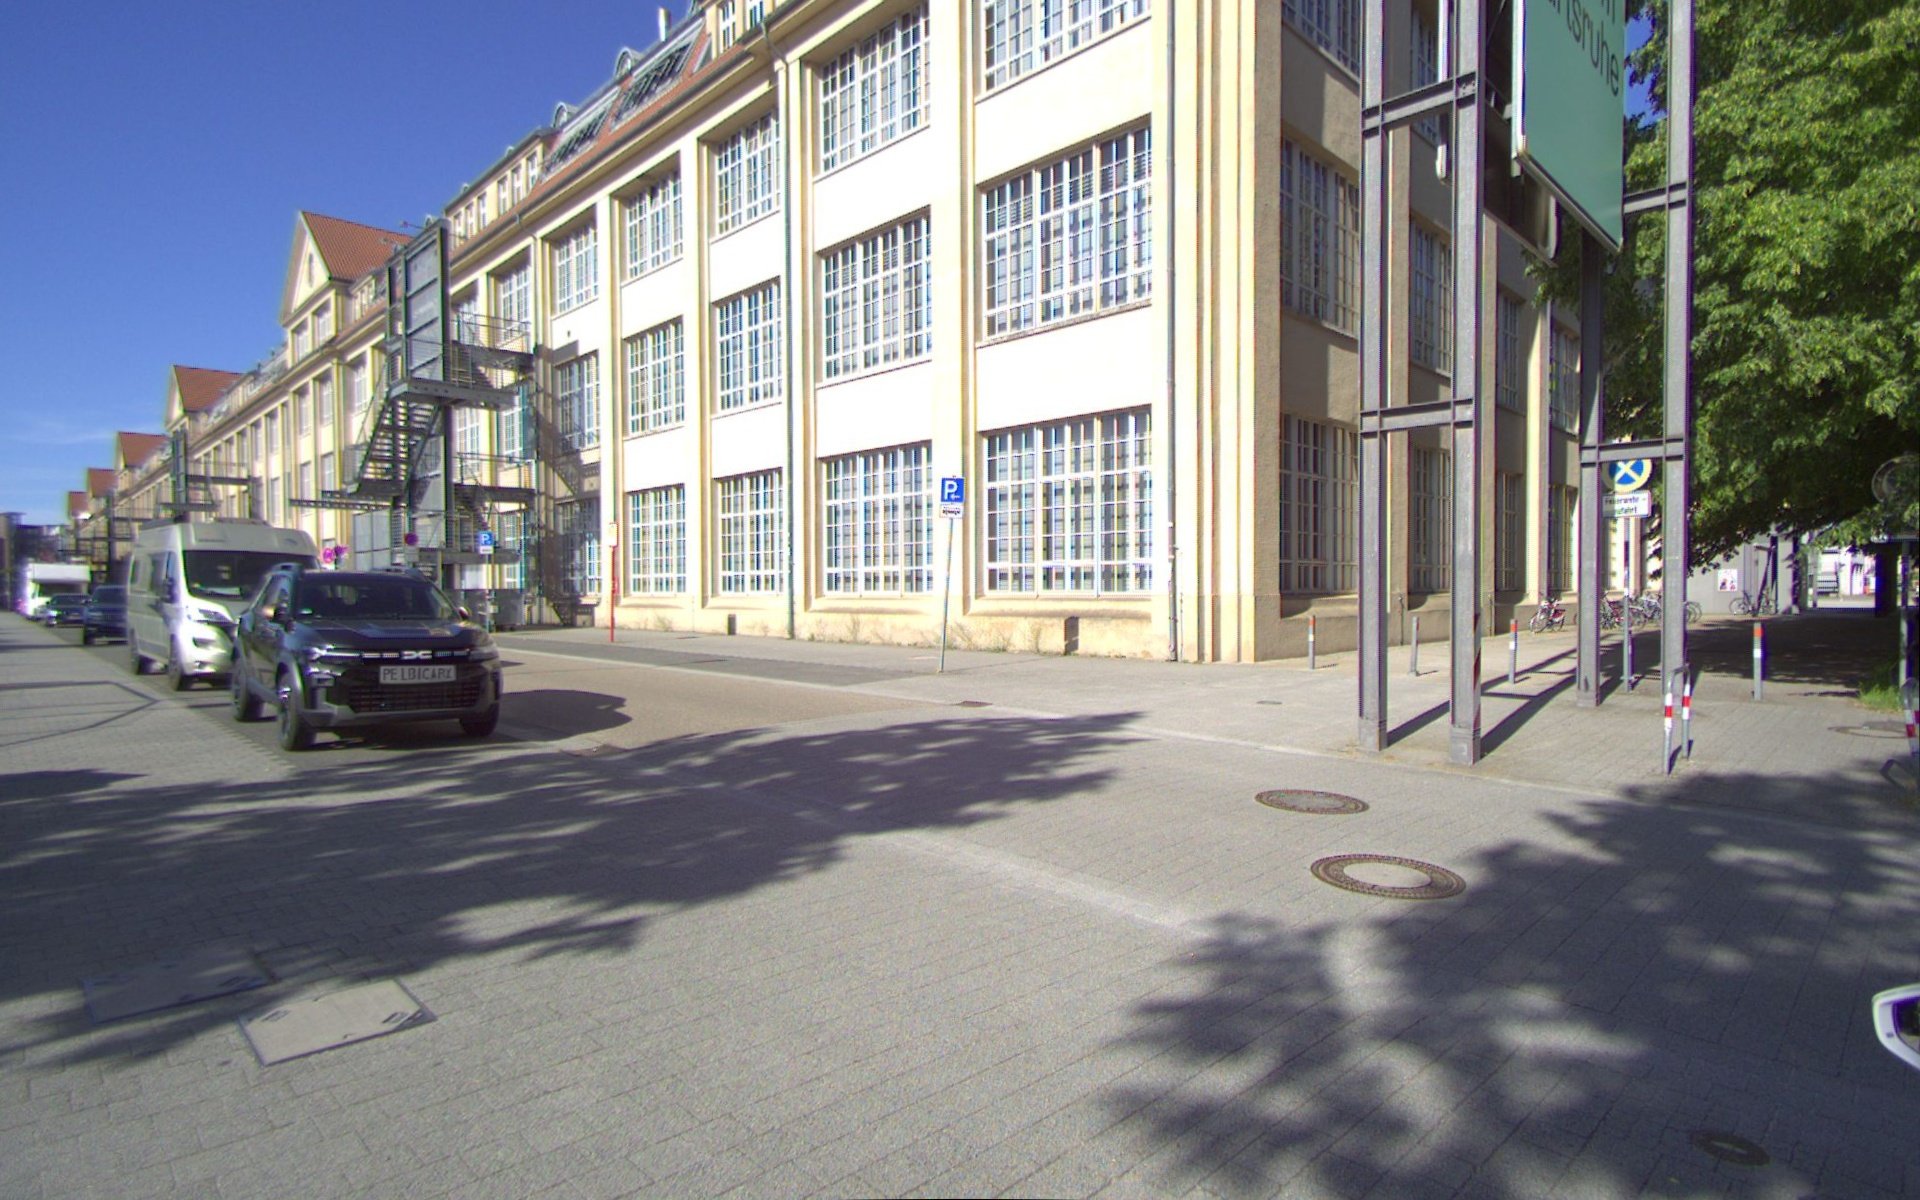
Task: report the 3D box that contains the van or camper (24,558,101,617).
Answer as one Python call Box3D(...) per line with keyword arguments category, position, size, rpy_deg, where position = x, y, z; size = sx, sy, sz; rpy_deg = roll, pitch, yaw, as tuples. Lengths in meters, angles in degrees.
Box3D(category="van or camper", position=(-47.057, -0.656, 52.628), size=(5.064, 2.895, 2.707), rpy_deg=(1, 1, 45))

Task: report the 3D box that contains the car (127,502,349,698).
Box3D(category="car", position=(-12.001, -0.021, 16.464), size=(2.150, 2.632, 6.202), rpy_deg=(-1, 1, -43))

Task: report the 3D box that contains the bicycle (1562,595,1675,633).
Box3D(category="bicycle", position=(19.877, 0.402, 30.373), size=(2.769, 1.077, 0.715), rpy_deg=(1, 2, 42))

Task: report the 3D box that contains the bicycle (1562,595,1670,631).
Box3D(category="bicycle", position=(20.713, 0.398, 31.776), size=(0.714, 1.077, 2.773), rpy_deg=(-2, 2, -44))

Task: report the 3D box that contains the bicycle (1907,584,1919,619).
Box3D(category="bicycle", position=(33.938, 0.046, 35.472), size=(0.612, 1.213, 2.121), rpy_deg=(1, 1, 40))

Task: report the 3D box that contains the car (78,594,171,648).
Box3D(category="car", position=(-24.580, 0.557, 29.497), size=(1.839, 1.444, 4.170), rpy_deg=(-1, 1, -43))

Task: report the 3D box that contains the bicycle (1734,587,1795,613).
Box3D(category="bicycle", position=(35.017, -0.007, 43.751), size=(0.503, 1.081, 2.039), rpy_deg=(-2, 2, -42))

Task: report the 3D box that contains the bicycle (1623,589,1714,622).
Box3D(category="bicycle", position=(26.039, 0.176, 36.961), size=(2.700, 1.166, 0.715), rpy_deg=(1, 2, 42))

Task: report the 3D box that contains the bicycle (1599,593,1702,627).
Box3D(category="bicycle", position=(22.984, 0.325, 33.499), size=(2.769, 1.077, 0.715), rpy_deg=(1, 2, 42))

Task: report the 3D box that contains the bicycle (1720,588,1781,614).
Box3D(category="bicycle", position=(34.242, 0.030, 43.539), size=(0.503, 1.081, 2.039), rpy_deg=(-2, 2, -42))

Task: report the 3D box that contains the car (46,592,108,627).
Box3D(category="car", position=(-38.335, 0.356, 43.576), size=(1.839, 1.444, 4.170), rpy_deg=(-1, 1, -43))

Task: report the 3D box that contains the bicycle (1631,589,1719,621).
Box3D(category="bicycle", position=(27.267, 0.167, 38.342), size=(2.700, 1.166, 0.715), rpy_deg=(1, 2, 42))

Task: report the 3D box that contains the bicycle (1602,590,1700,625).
Box3D(category="bicycle", position=(24.314, 0.245, 35.384), size=(2.769, 1.166, 0.715), rpy_deg=(1, 2, 42))

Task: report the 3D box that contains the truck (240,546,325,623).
Box3D(category="truck", position=(-32.999, -0.761, 48.820), size=(2.482, 3.477, 7.039), rpy_deg=(0, 1, -42))

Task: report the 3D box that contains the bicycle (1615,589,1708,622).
Box3D(category="bicycle", position=(25.427, 0.182, 36.467), size=(2.700, 1.166, 0.715), rpy_deg=(1, 2, 42))

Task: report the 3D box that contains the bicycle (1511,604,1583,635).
Box3D(category="bicycle", position=(17.123, 0.542, 29.264), size=(2.857, 0.803, 0.772), rpy_deg=(-1, 2, -37))

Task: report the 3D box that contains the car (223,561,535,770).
Box3D(category="car", position=(-6.153, 0.522, 10.422), size=(1.985, 1.718, 4.052), rpy_deg=(-1, 1, -42))
